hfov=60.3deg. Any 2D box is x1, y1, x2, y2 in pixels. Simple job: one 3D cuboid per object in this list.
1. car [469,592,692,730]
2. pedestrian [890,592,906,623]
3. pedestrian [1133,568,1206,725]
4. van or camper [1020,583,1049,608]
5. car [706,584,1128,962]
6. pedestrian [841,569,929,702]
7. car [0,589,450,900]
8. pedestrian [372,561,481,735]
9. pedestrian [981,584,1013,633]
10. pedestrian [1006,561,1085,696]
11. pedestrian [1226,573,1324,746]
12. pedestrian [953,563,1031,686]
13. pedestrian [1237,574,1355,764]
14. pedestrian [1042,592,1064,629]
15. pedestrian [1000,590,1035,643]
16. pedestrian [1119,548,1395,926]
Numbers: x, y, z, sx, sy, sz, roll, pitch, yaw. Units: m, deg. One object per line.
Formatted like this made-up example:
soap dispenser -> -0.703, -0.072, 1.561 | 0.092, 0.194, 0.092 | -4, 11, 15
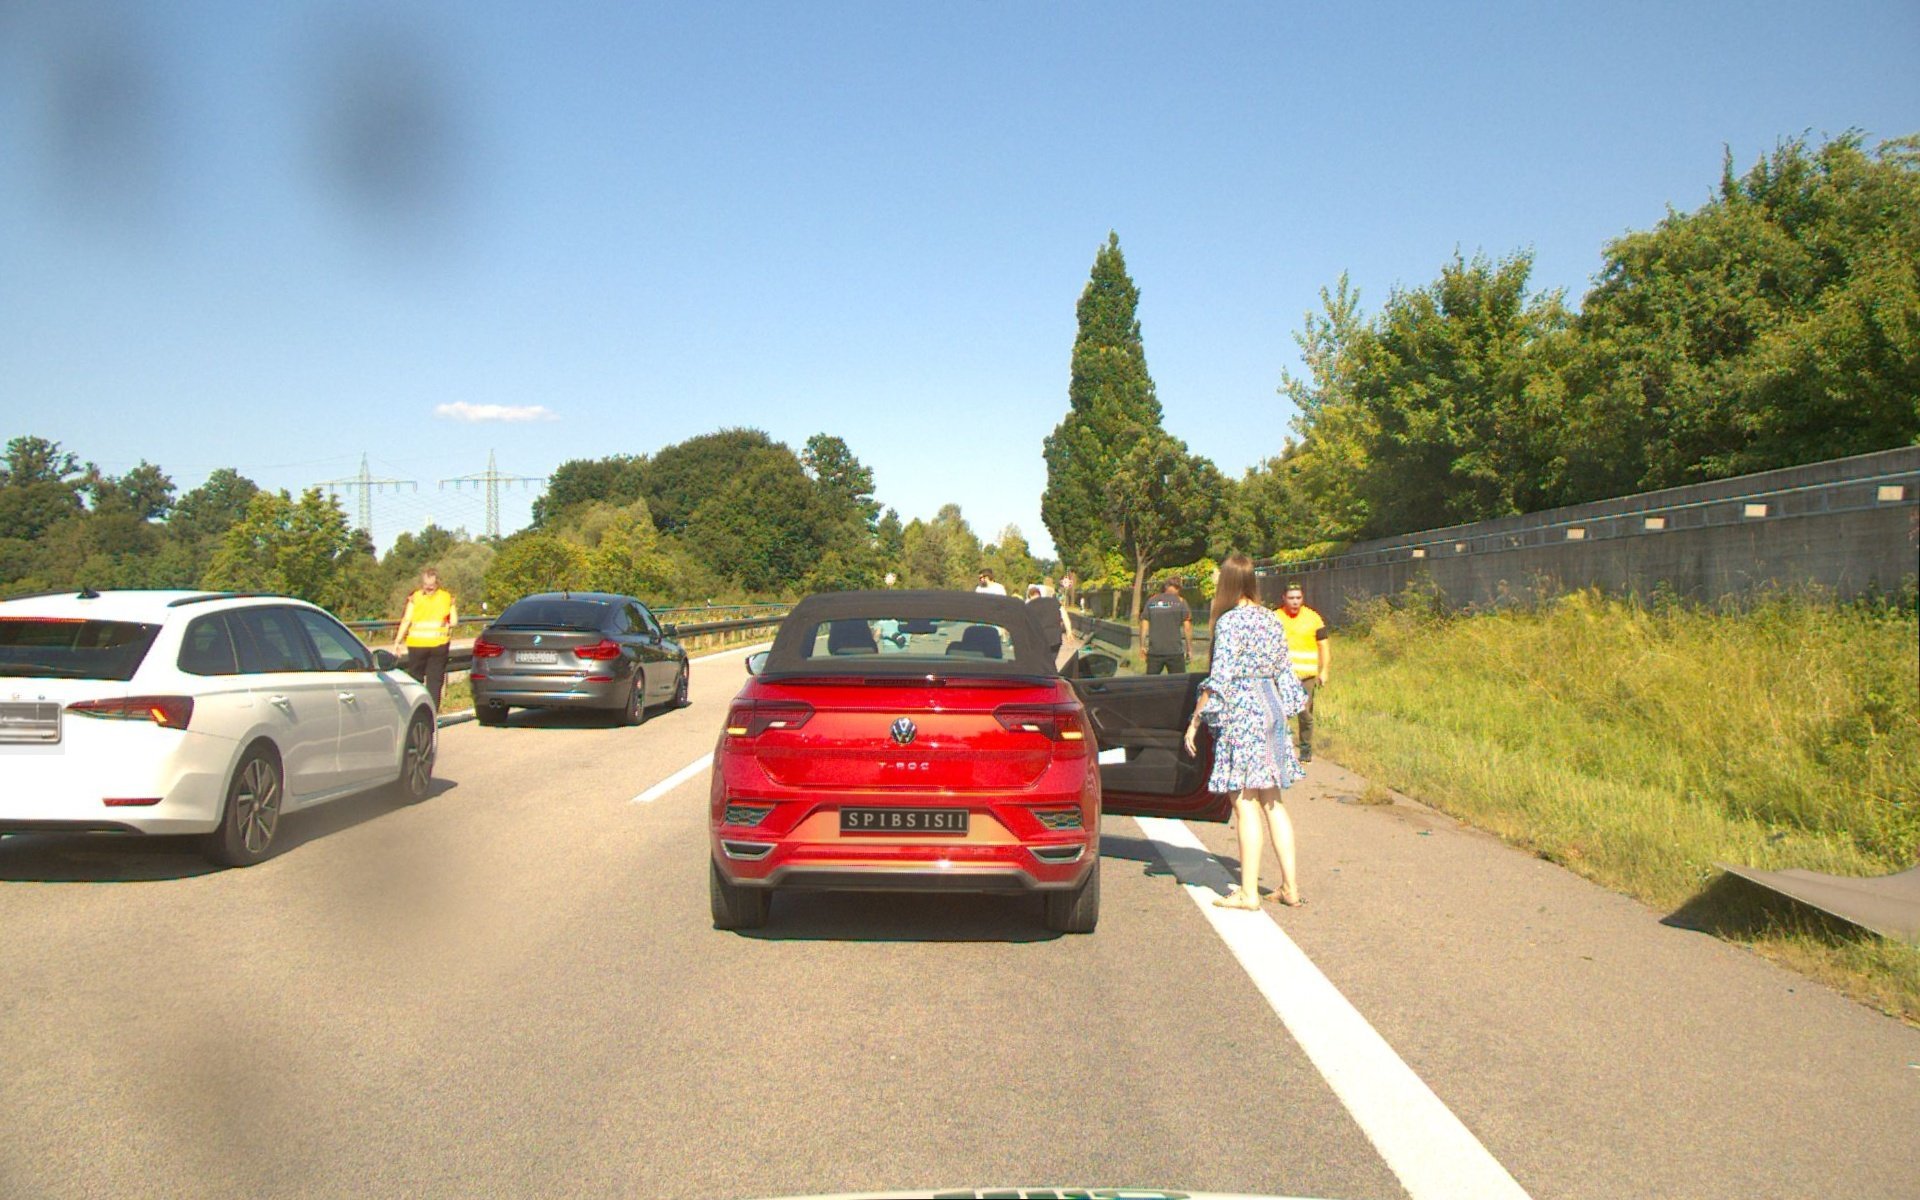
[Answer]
car -> -4.401, 0.645, 19.818 | 1.660, 1.451, 4.334 | 1, 0, 0
pedestrian -> -3.430, 0.419, 91.560 | 0.775, 1.719, 0.793 | 1, -1, 5
pedestrian -> 2.477, 0.535, 19.481 | 0.794, 1.790, 0.829 | 1, -1, 9
van or camper -> 7.273, -0.441, 161.029 | 1.951, 2.356, 4.473 | 1, 0, 15
car -> -0.171, 0.696, 8.831 | 1.697, 1.513, 4.210 | 1, 0, 0
pedestrian -> -1.054, 0.490, 23.458 | 1.081, 1.820, 1.092 | 1, 0, 5
car -> -4.571, 0.680, 9.993 | 1.660, 1.467, 4.210 | 1, 0, 0
pedestrian -> -5.708, 0.494, 17.764 | 1.023, 1.794, 1.114 | -1, 0, -14
pedestrian -> 1.339, 0.303, 59.427 | 1.091, 1.719, 0.973 | 1, 0, -1
pedestrian -> 1.241, 0.408, 24.214 | 1.067, 1.916, 1.068 | -1, 0, -1
pedestrian -> 3.286, 0.609, 17.320 | 0.876, 1.755, 0.754 | 1, -1, 1
pedestrian -> 0.508, 0.386, 27.040 | 1.085, 1.946, 1.255 | -1, 0, -8
pedestrian -> 3.110, 0.615, 15.418 | 0.937, 1.682, 1.279 | -1, 0, 6
pedestrian -> 4.371, 0.486, 77.540 | 0.975, 1.719, 1.011 | 1, 0, 3
pedestrian -> 1.894, 0.529, 54.523 | 1.033, 1.719, 1.018 | 1, 0, 7
pedestrian -> 1.451, 0.619, 8.242 | 0.878, 1.725, 1.121 | -1, 0, -23
